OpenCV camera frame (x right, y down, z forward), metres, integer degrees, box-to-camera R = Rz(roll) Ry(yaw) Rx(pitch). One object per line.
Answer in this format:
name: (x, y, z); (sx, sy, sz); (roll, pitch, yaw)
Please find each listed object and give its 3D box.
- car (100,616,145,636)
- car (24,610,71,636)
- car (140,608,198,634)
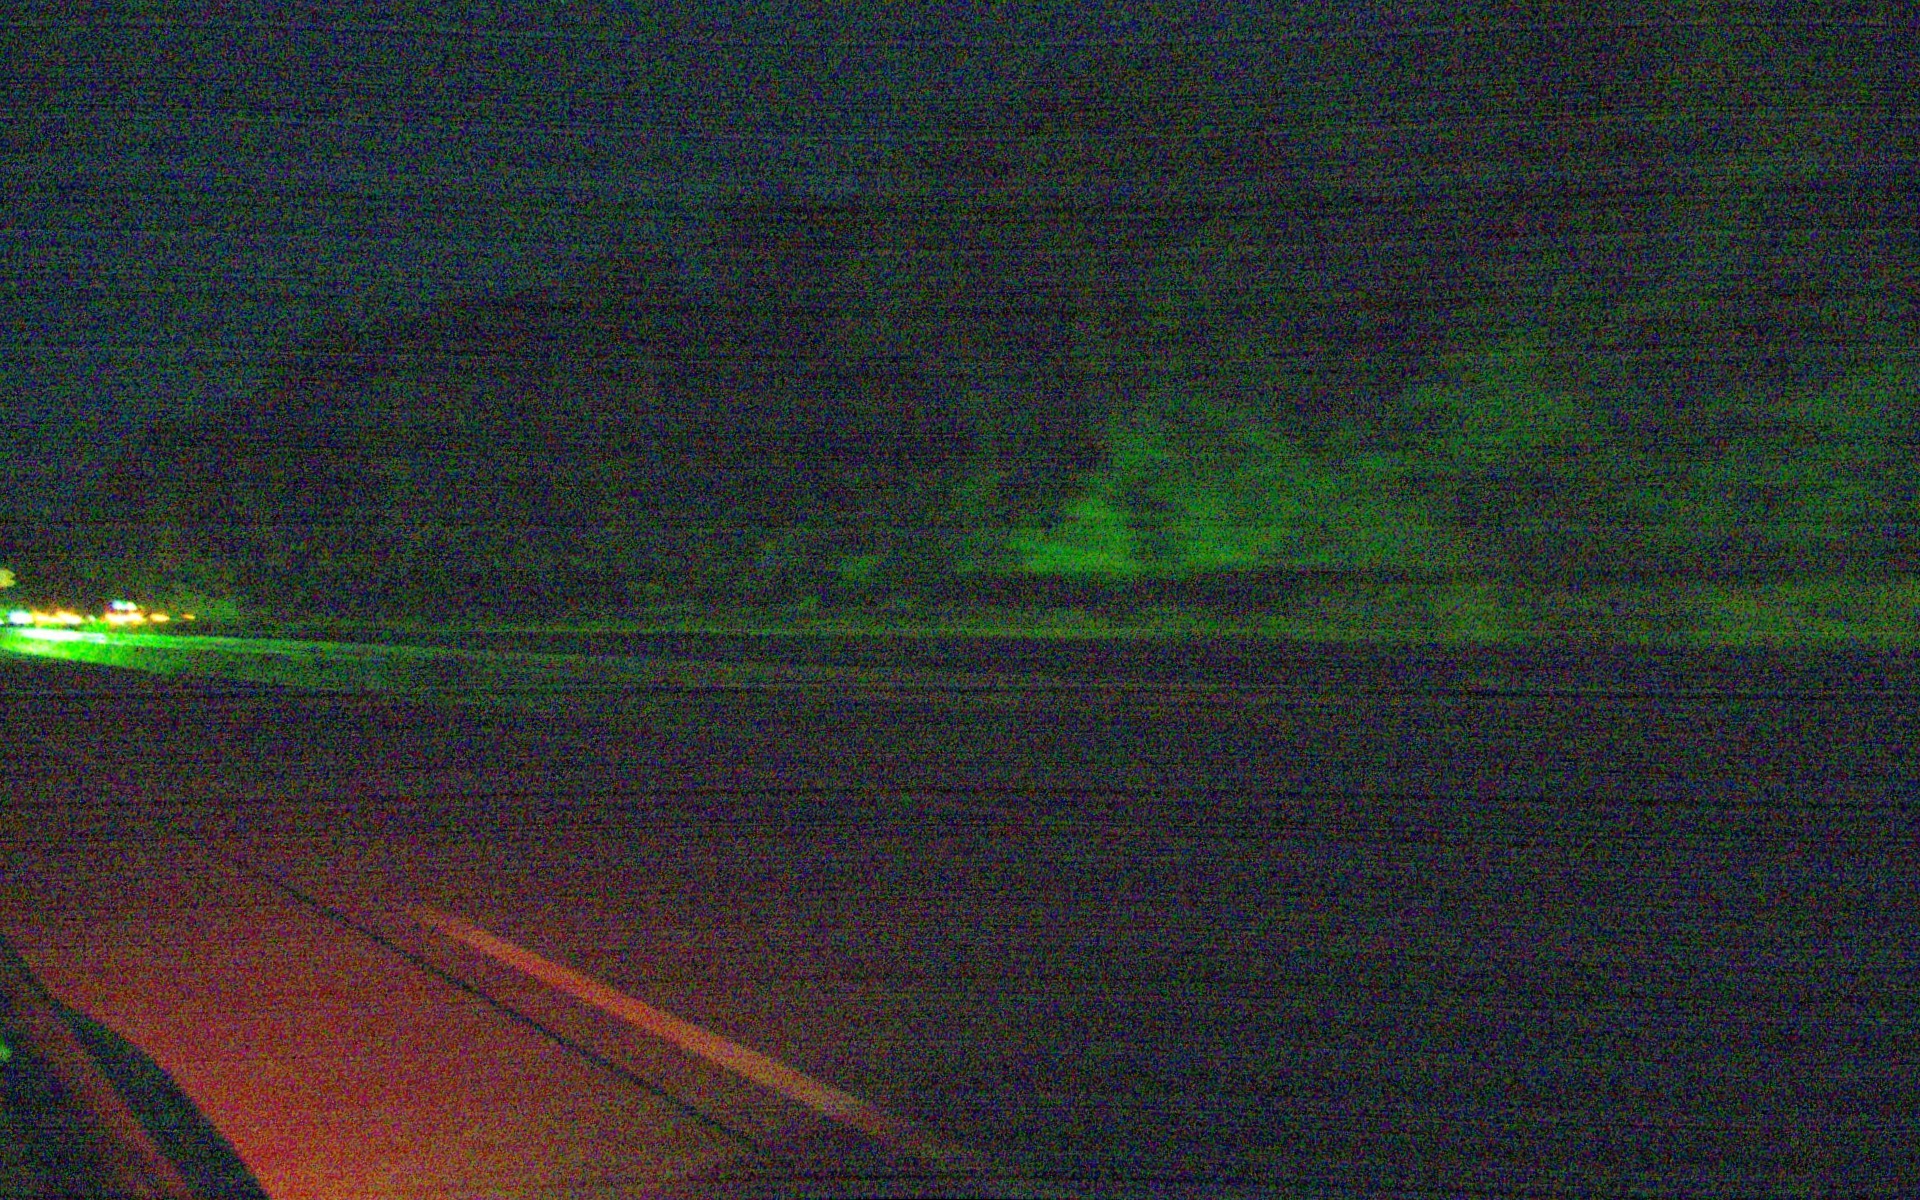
car: (-66.524, 2.035, 80.383); (4.839, 1.421, 1.754); (-1, 3, 39)
car: (-65.480, 1.658, 72.594); (5.077, 1.746, 1.937); (-2, 0, 42)
car: (-46.730, 1.246, 59.748); (4.334, 1.468, 1.937); (-2, 0, 42)
